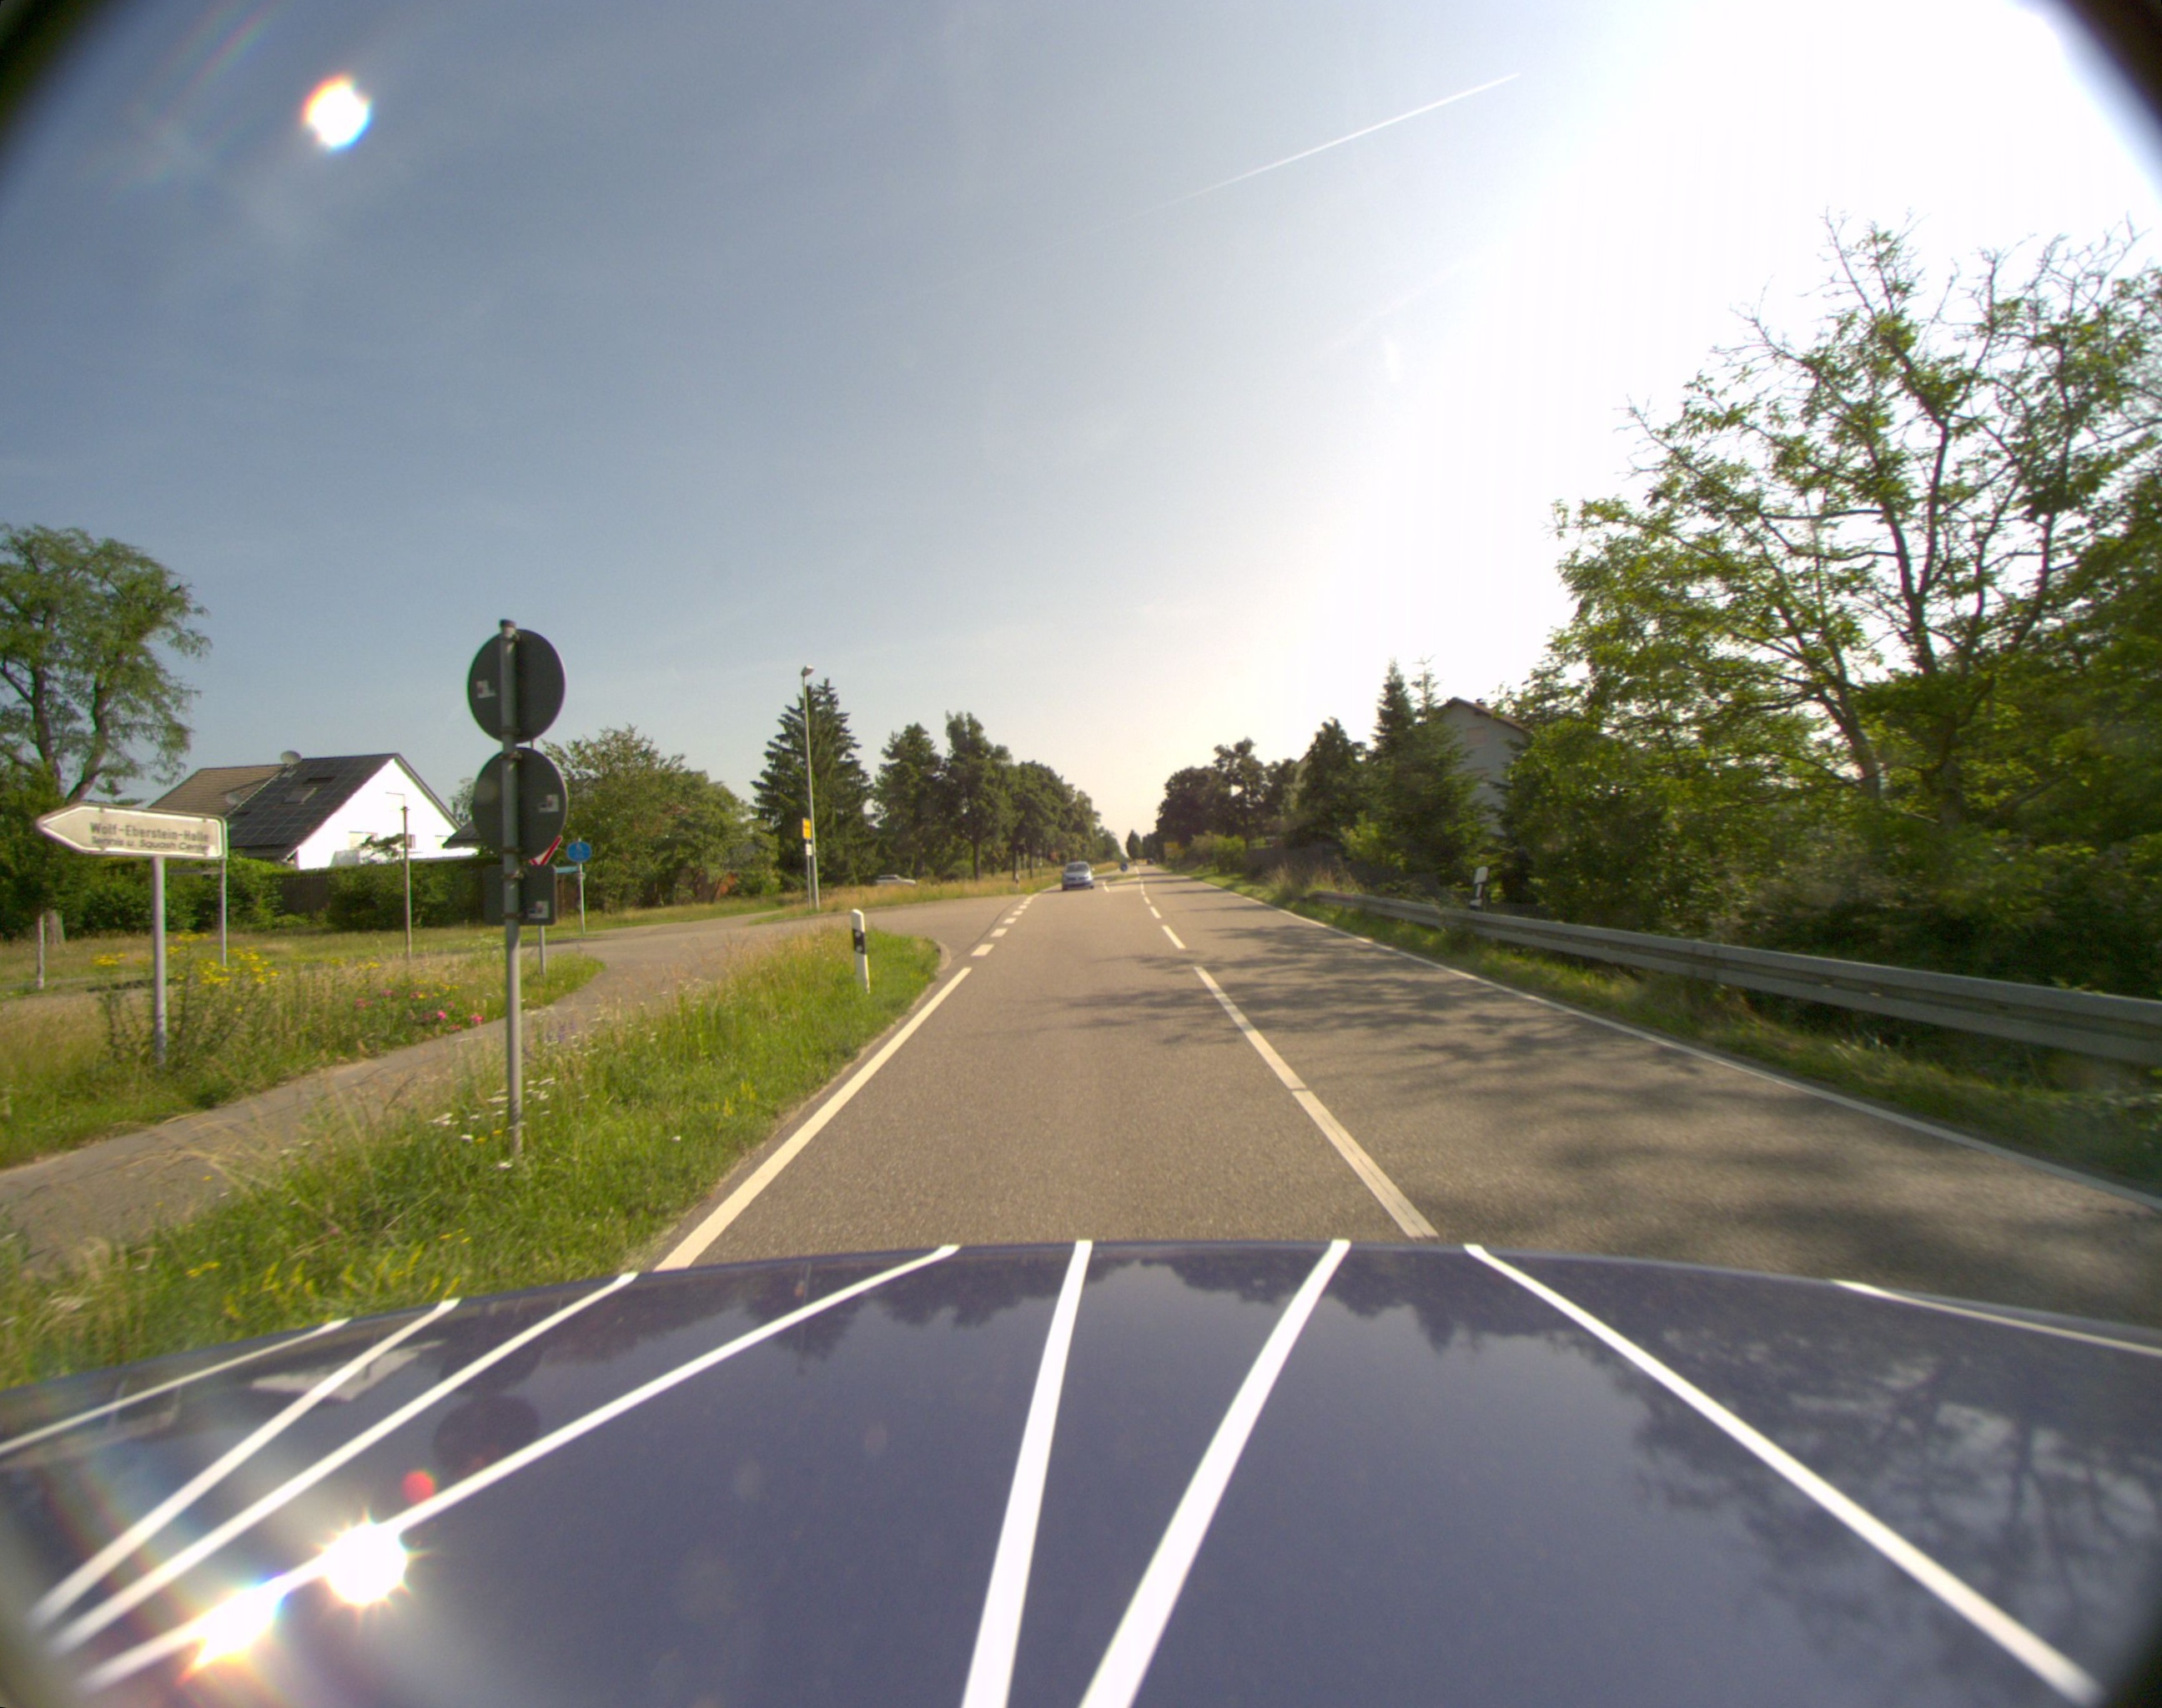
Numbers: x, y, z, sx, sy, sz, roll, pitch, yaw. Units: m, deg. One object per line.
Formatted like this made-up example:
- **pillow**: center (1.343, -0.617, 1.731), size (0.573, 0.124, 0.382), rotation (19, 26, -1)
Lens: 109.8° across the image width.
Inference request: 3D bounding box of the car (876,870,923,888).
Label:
- **car**: center (-17.444, 2.401, 73.127), size (3.997, 1.425, 1.815), rotation (-3, 0, -1)

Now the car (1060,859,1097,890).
- **car**: center (-0.105, 1.128, 43.565), size (1.808, 1.592, 4.271), rotation (-3, -1, 3)
